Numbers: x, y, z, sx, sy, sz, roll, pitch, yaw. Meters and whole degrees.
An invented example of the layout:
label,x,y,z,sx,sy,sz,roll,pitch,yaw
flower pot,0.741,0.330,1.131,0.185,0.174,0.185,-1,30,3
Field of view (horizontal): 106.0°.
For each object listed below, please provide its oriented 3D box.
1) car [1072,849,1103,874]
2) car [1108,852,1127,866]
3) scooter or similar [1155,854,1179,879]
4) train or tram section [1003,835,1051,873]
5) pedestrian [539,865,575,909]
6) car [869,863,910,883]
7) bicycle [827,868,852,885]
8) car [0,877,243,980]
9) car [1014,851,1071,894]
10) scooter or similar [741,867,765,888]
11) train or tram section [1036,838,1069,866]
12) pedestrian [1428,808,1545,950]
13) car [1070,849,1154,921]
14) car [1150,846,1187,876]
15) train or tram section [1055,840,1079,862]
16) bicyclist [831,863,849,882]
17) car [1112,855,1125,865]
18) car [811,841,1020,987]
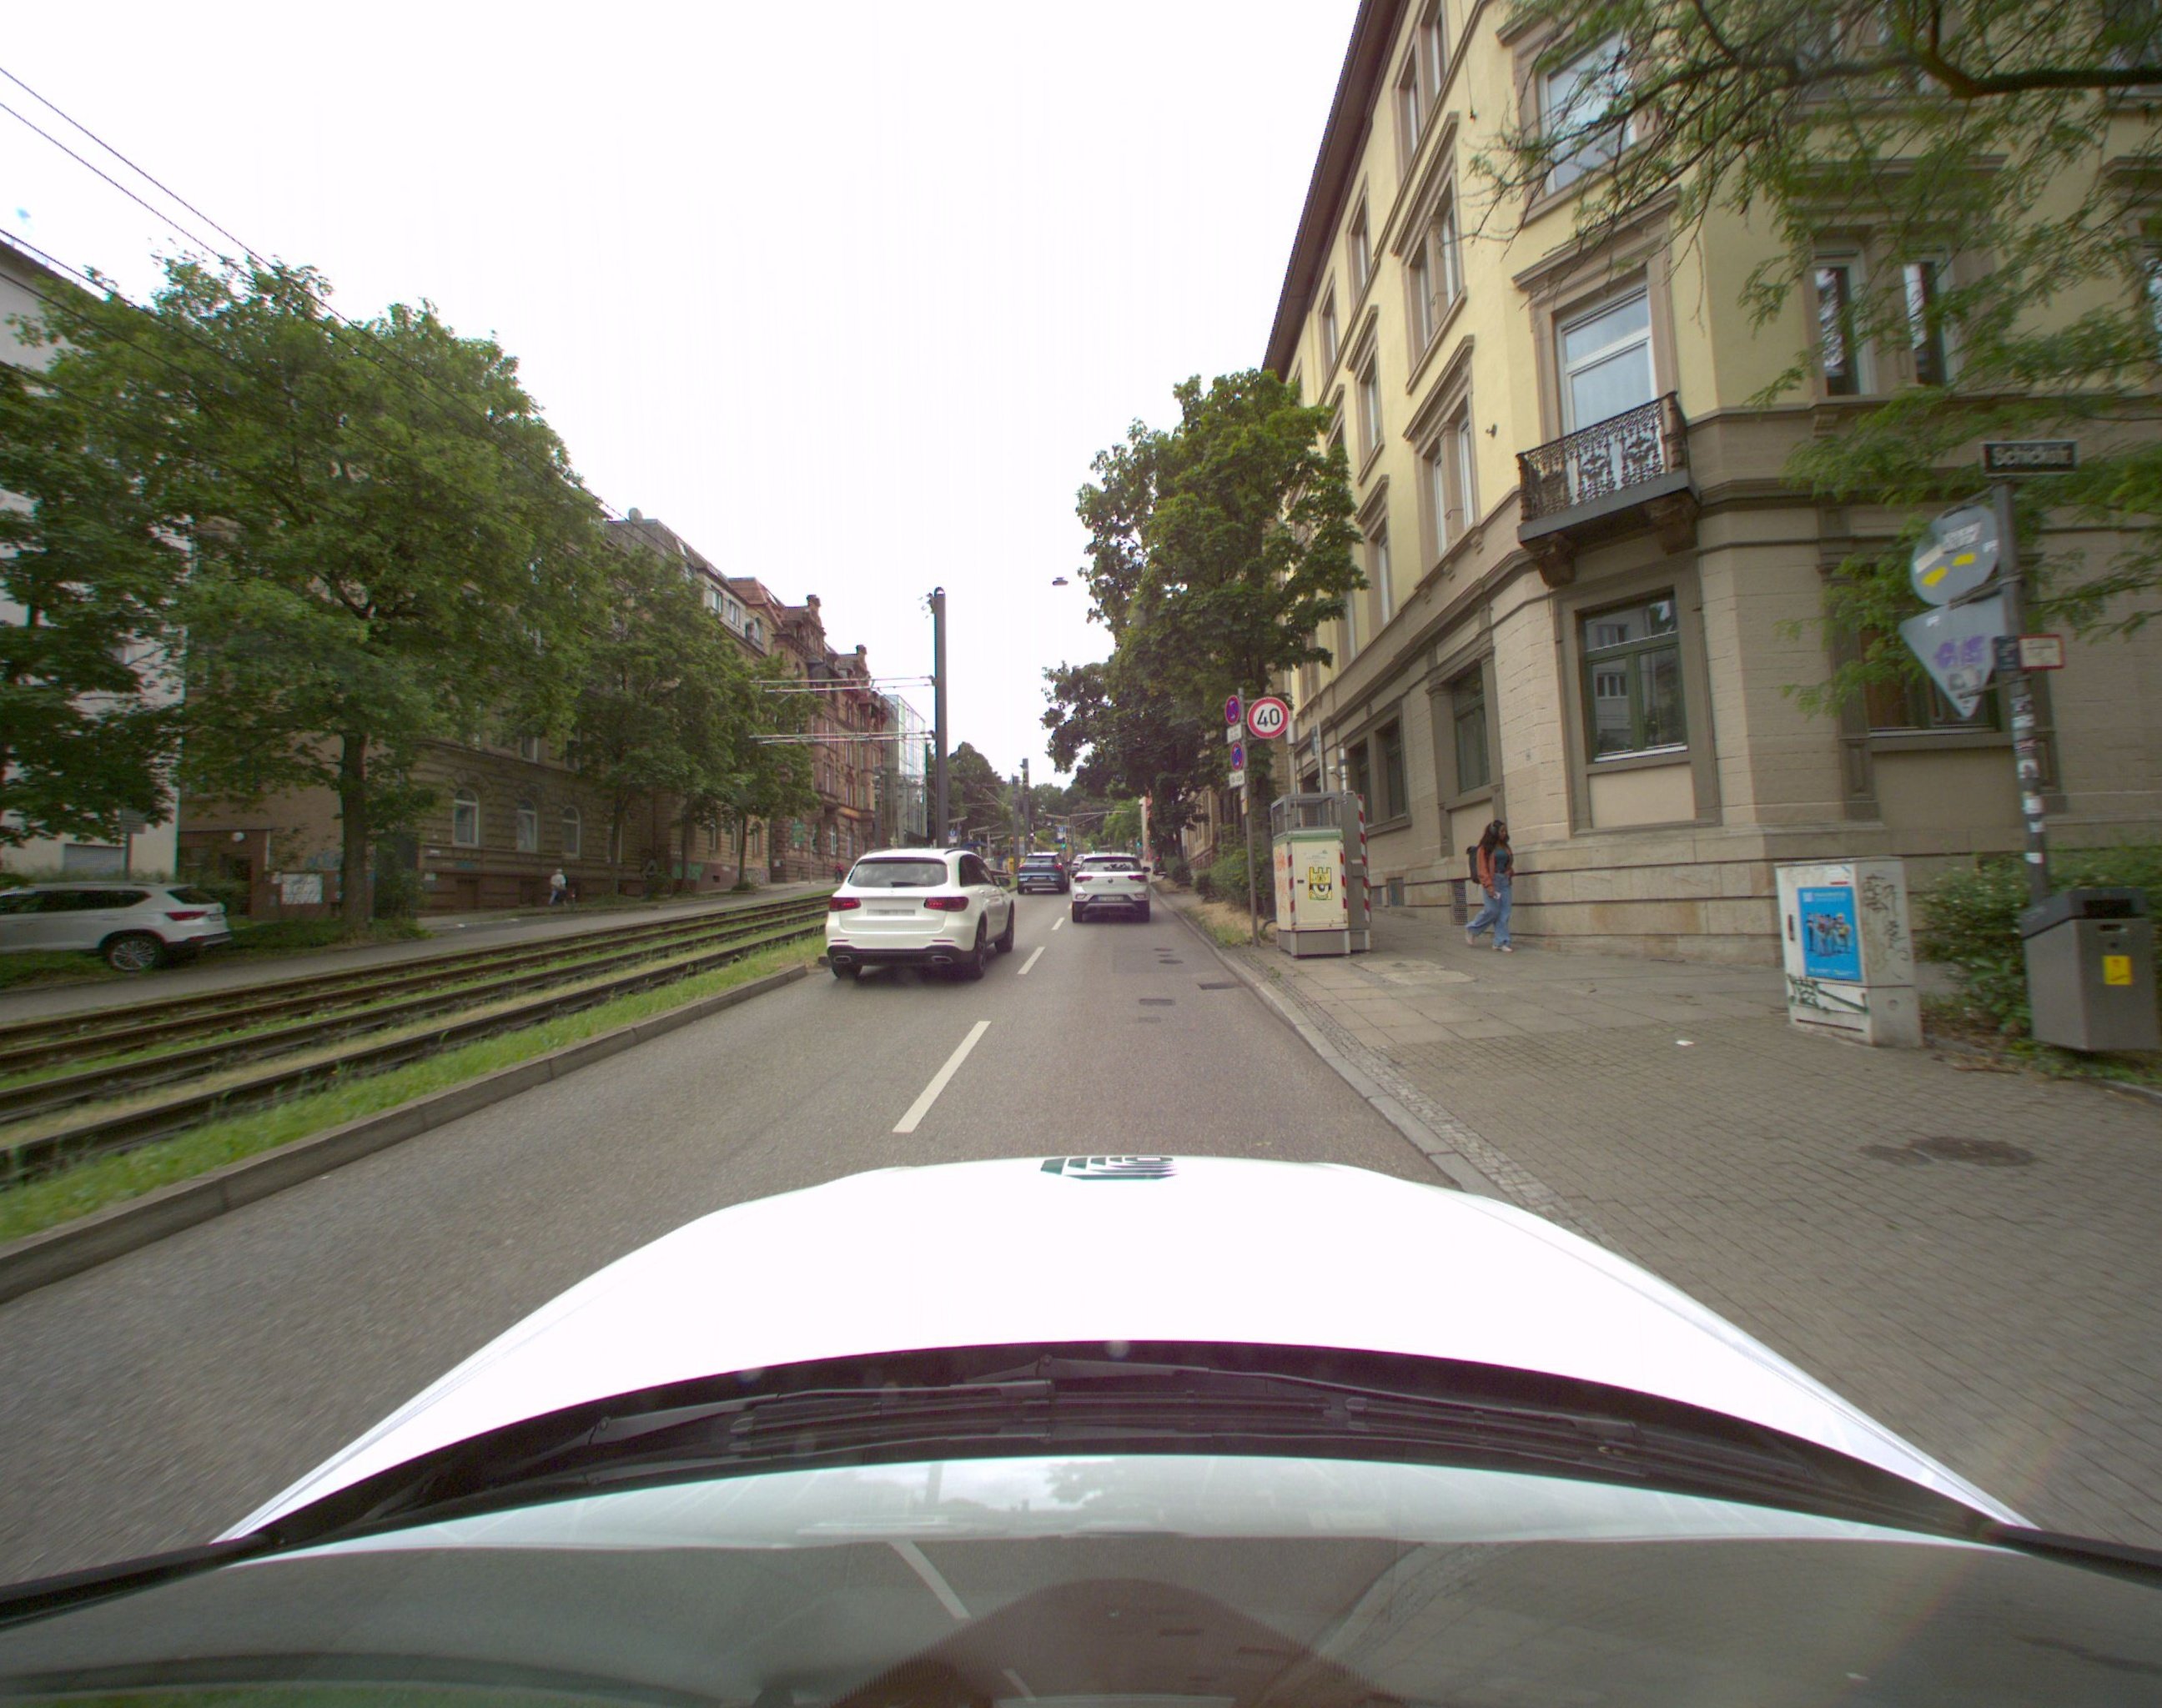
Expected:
label,x,y,z,sx,sy,sz,roll,pitch,yaw
car,0.440,0.463,51.673,1.828,1.546,4.196,0,0,2
car,4.117,0.546,91.826,2.060,1.546,4.196,0,0,2
scooter or similar,4.039,0.595,38.279,1.031,1.119,0.332,-3,0,8
train or tram section,-5.031,-0.009,78.755,2.983,3.349,13.449,-2,0,3
pedestrian,-20.944,1.302,32.563,0.828,1.684,0.848,-3,0,0
car,-14.958,1.444,63.731,1.985,1.403,4.003,-2,0,3
bicycle,-18.111,1.684,61.222,0.934,1.100,2.704,-2,0,2
car,-18.319,1.272,14.327,4.623,1.617,1.917,0,0,-32
car,-1.416,0.684,31.687,1.828,1.546,4.196,0,0,2
scooter or similar,-20.661,1.463,51.348,0.627,1.255,2.215,-2,0,0
train or tram section,-3.572,-0.218,105.778,2.983,3.349,13.449,-2,0,3
pedestrian,5.084,0.290,10.272,0.711,1.662,1.120,-2,0,-17
car,0.721,0.671,19.780,1.829,1.546,4.194,0,0,1
car,5.134,0.400,48.350,1.828,1.601,4.196,-3,0,2
train or tram section,-2.190,-0.426,133.969,2.983,3.349,13.449,-2,0,3
bicyclist,-18.128,1.388,61.265,0.934,1.425,1.188,-2,0,2
car,6.103,0.977,132.932,2.060,1.546,4.196,0,0,2
car,-2.066,0.683,11.644,1.828,1.667,4.673,0,0,2
